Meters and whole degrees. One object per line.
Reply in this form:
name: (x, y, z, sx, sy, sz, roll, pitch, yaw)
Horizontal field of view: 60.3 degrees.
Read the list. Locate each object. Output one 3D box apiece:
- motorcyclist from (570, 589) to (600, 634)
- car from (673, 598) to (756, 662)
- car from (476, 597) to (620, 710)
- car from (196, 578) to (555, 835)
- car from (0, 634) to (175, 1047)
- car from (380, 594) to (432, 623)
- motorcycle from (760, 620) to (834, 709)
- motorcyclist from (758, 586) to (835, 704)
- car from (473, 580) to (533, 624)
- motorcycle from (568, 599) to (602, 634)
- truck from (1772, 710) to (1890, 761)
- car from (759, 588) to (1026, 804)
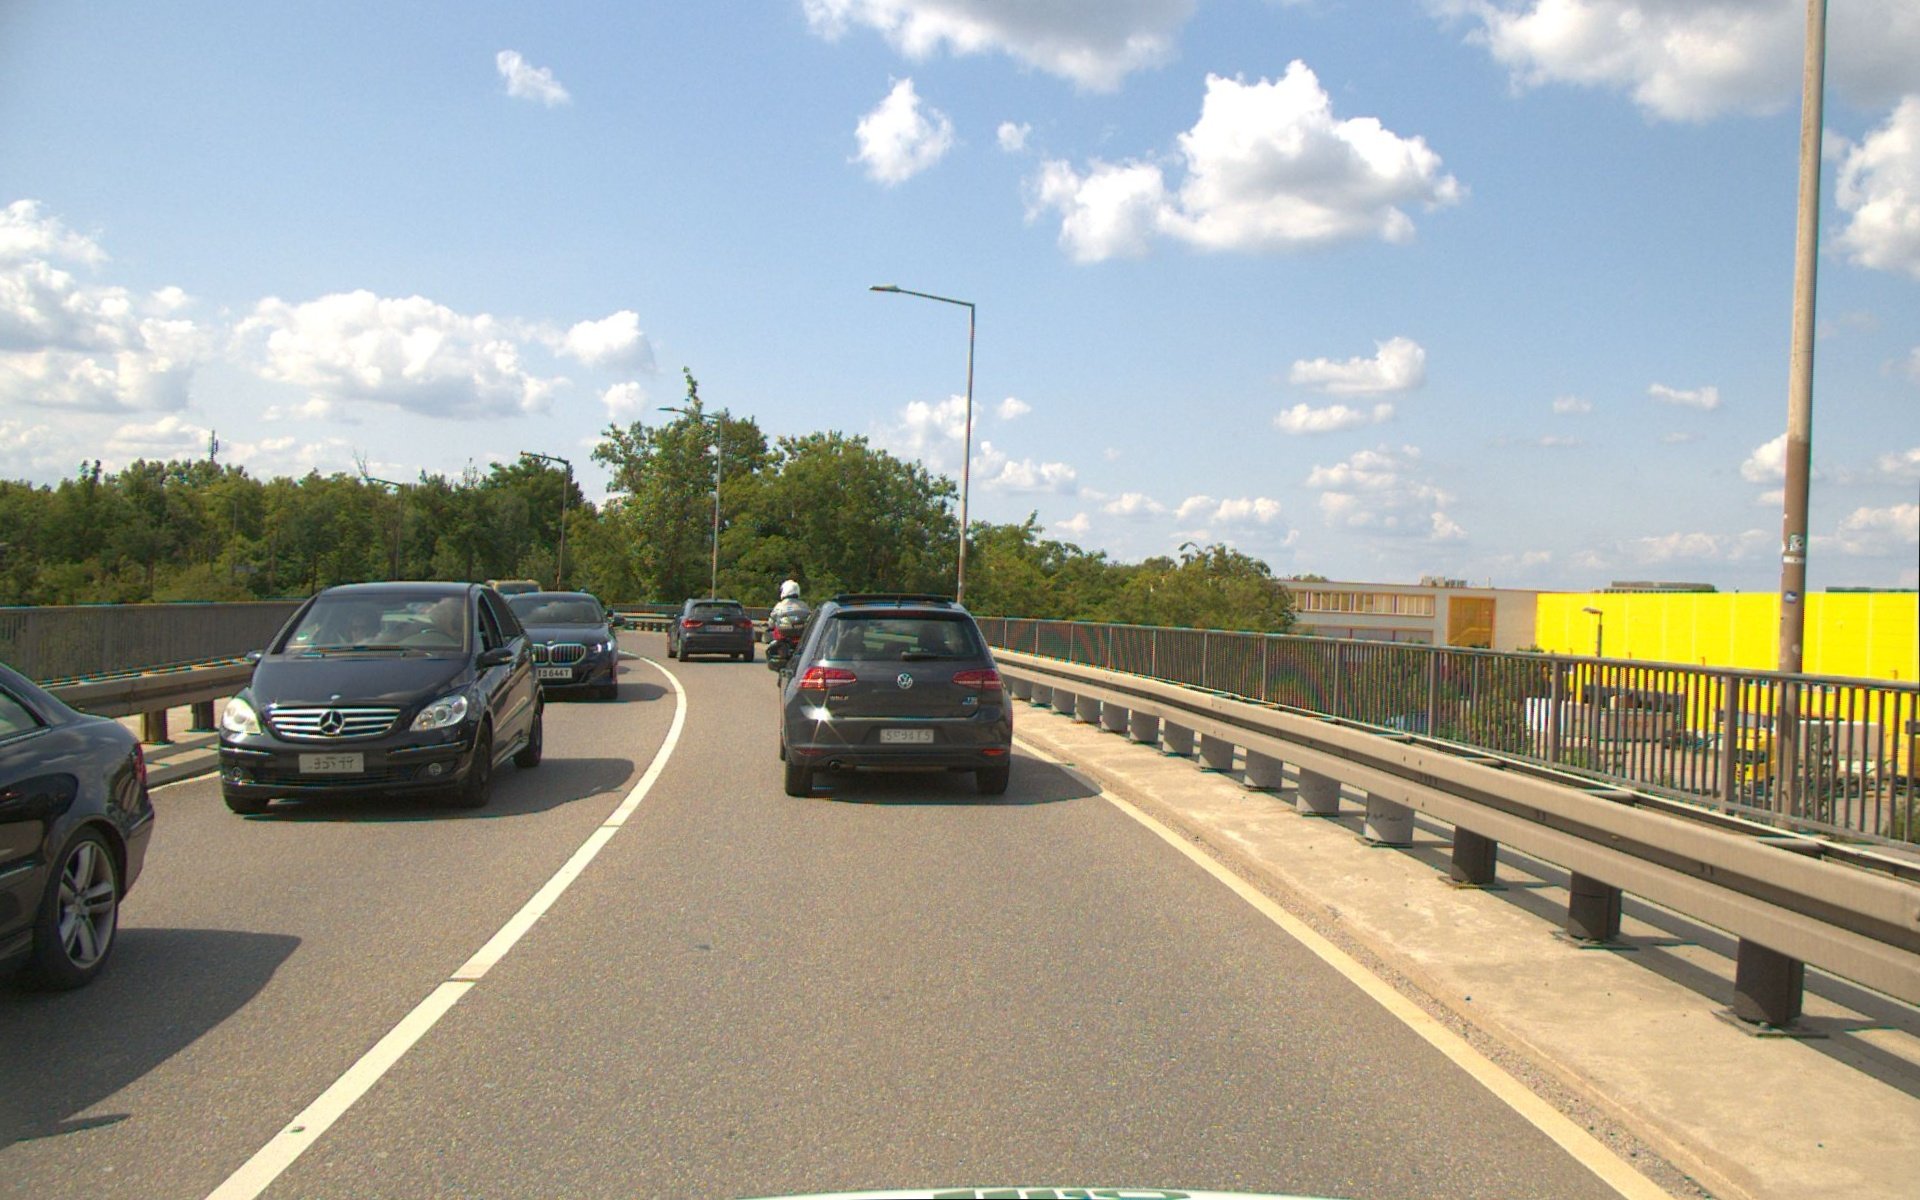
motorcyclist: (-13.864, 0.430, 61.134, 0.952, 1.624, 1.118, 1, 0, -21)
car: (-5.728, 0.705, 38.288, 1.652, 1.412, 3.727, 0, -1, -12)
car: (-5.933, 0.705, 24.034, 1.844, 1.467, 3.873, -1, 0, -13)
car: (-4.290, 0.675, 12.815, 1.651, 1.624, 4.277, -1, 0, -6)
car: (-3.984, 0.829, 4.817, 1.600, 1.368, 4.249, -1, 0, -4)
car: (-29.270, 0.425, 87.344, 1.795, 1.513, 3.958, -1, 1, -31)
motorcycle: (-2.328, 0.881, 23.406, 0.775, 1.152, 2.392, 1, 0, -12)
motorcyclist: (-2.344, 0.631, 23.634, 0.949, 1.648, 1.121, 1, 0, -13)
car: (-15.601, 0.067, 56.350, 1.847, 1.426, 3.867, -1, 0, -17)
motorcycle: (-13.860, 0.604, 61.104, 0.875, 1.269, 2.383, 1, 0, -22)
truck: (64.937, 10.075, 123.340, 7.498, 3.244, 2.685, 4, -2, -6)
car: (-0.695, 0.688, 13.618, 1.613, 1.505, 3.861, 1, 0, -11)
